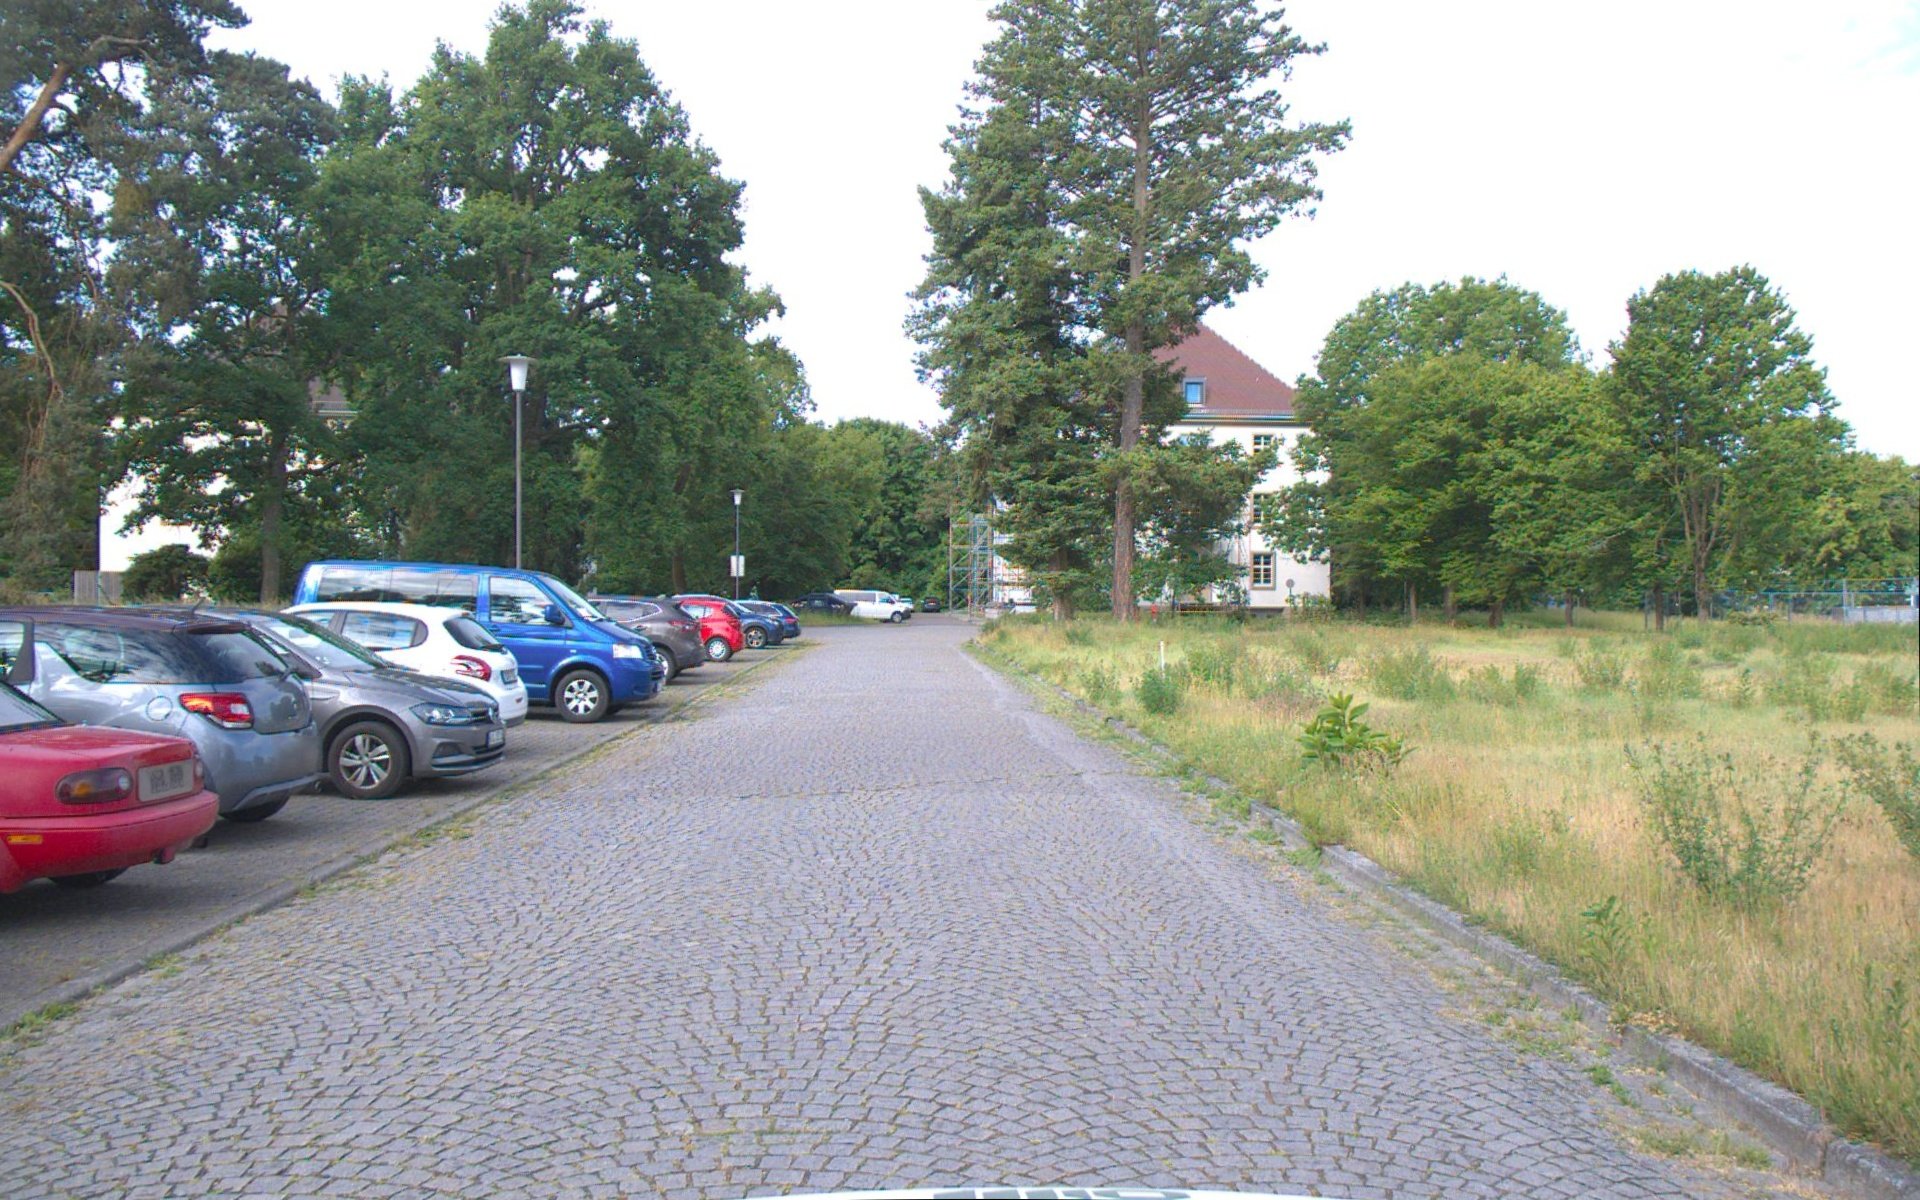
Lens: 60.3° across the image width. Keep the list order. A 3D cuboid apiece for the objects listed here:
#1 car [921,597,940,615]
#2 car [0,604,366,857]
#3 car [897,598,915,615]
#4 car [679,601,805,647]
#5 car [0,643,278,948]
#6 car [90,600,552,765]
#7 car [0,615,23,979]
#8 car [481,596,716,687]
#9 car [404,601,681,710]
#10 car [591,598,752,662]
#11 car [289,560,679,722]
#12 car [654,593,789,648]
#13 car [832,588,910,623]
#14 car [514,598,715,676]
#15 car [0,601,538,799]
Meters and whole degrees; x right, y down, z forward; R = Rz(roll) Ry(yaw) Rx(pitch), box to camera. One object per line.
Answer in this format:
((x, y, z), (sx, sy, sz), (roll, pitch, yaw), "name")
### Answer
((-3.058, 0.638, 171.665), (1.754, 1.750, 4.057), (0, -2, -4), "car")
((-6.247, 0.791, 10.915), (4.005, 1.506, 1.755), (0, 0, -1), "car")
((-5.615, 0.682, 171.229), (1.754, 1.665, 4.057), (0, -2, -4), "car")
((-7.358, 0.801, 56.072), (3.987, 1.493, 1.626), (1, 0, 1), "car")
((-5.801, 0.893, 8.252), (4.048, 1.305, 1.763), (0, 0, -2), "car")
((-6.307, 0.789, 16.665), (3.924, 1.528, 1.842), (0, 0, -1), "car")
((-5.957, 0.791, 5.862), (4.168, 1.480, 1.854), (0, 0, -2), "car")
((-6.656, 0.749, 30.828), (3.987, 1.603, 1.953), (0, 0, -4), "car")
((-6.113, 0.800, 24.562), (3.719, 1.519, 1.724), (0, 0, -5), "car")
((-7.135, 0.729, 41.127), (3.740, 1.515, 1.786), (0, 0, -3), "car")
((-6.187, 0.523, 21.973), (4.615, 2.015, 2.037), (0, 0, -3), "car")
((-7.372, 0.631, 51.373), (3.991, 1.632, 1.786), (0, 0, -4), "car")
((-5.642, 0.366, 105.151), (4.879, 2.109, 2.050), (1, -2, -4), "car")
((-6.968, 0.733, 33.603), (3.739, 1.512, 1.760), (0, 0, -3), "car")
((-5.859, 0.787, 13.818), (4.217, 1.506, 1.731), (0, 0, -1), "car")
